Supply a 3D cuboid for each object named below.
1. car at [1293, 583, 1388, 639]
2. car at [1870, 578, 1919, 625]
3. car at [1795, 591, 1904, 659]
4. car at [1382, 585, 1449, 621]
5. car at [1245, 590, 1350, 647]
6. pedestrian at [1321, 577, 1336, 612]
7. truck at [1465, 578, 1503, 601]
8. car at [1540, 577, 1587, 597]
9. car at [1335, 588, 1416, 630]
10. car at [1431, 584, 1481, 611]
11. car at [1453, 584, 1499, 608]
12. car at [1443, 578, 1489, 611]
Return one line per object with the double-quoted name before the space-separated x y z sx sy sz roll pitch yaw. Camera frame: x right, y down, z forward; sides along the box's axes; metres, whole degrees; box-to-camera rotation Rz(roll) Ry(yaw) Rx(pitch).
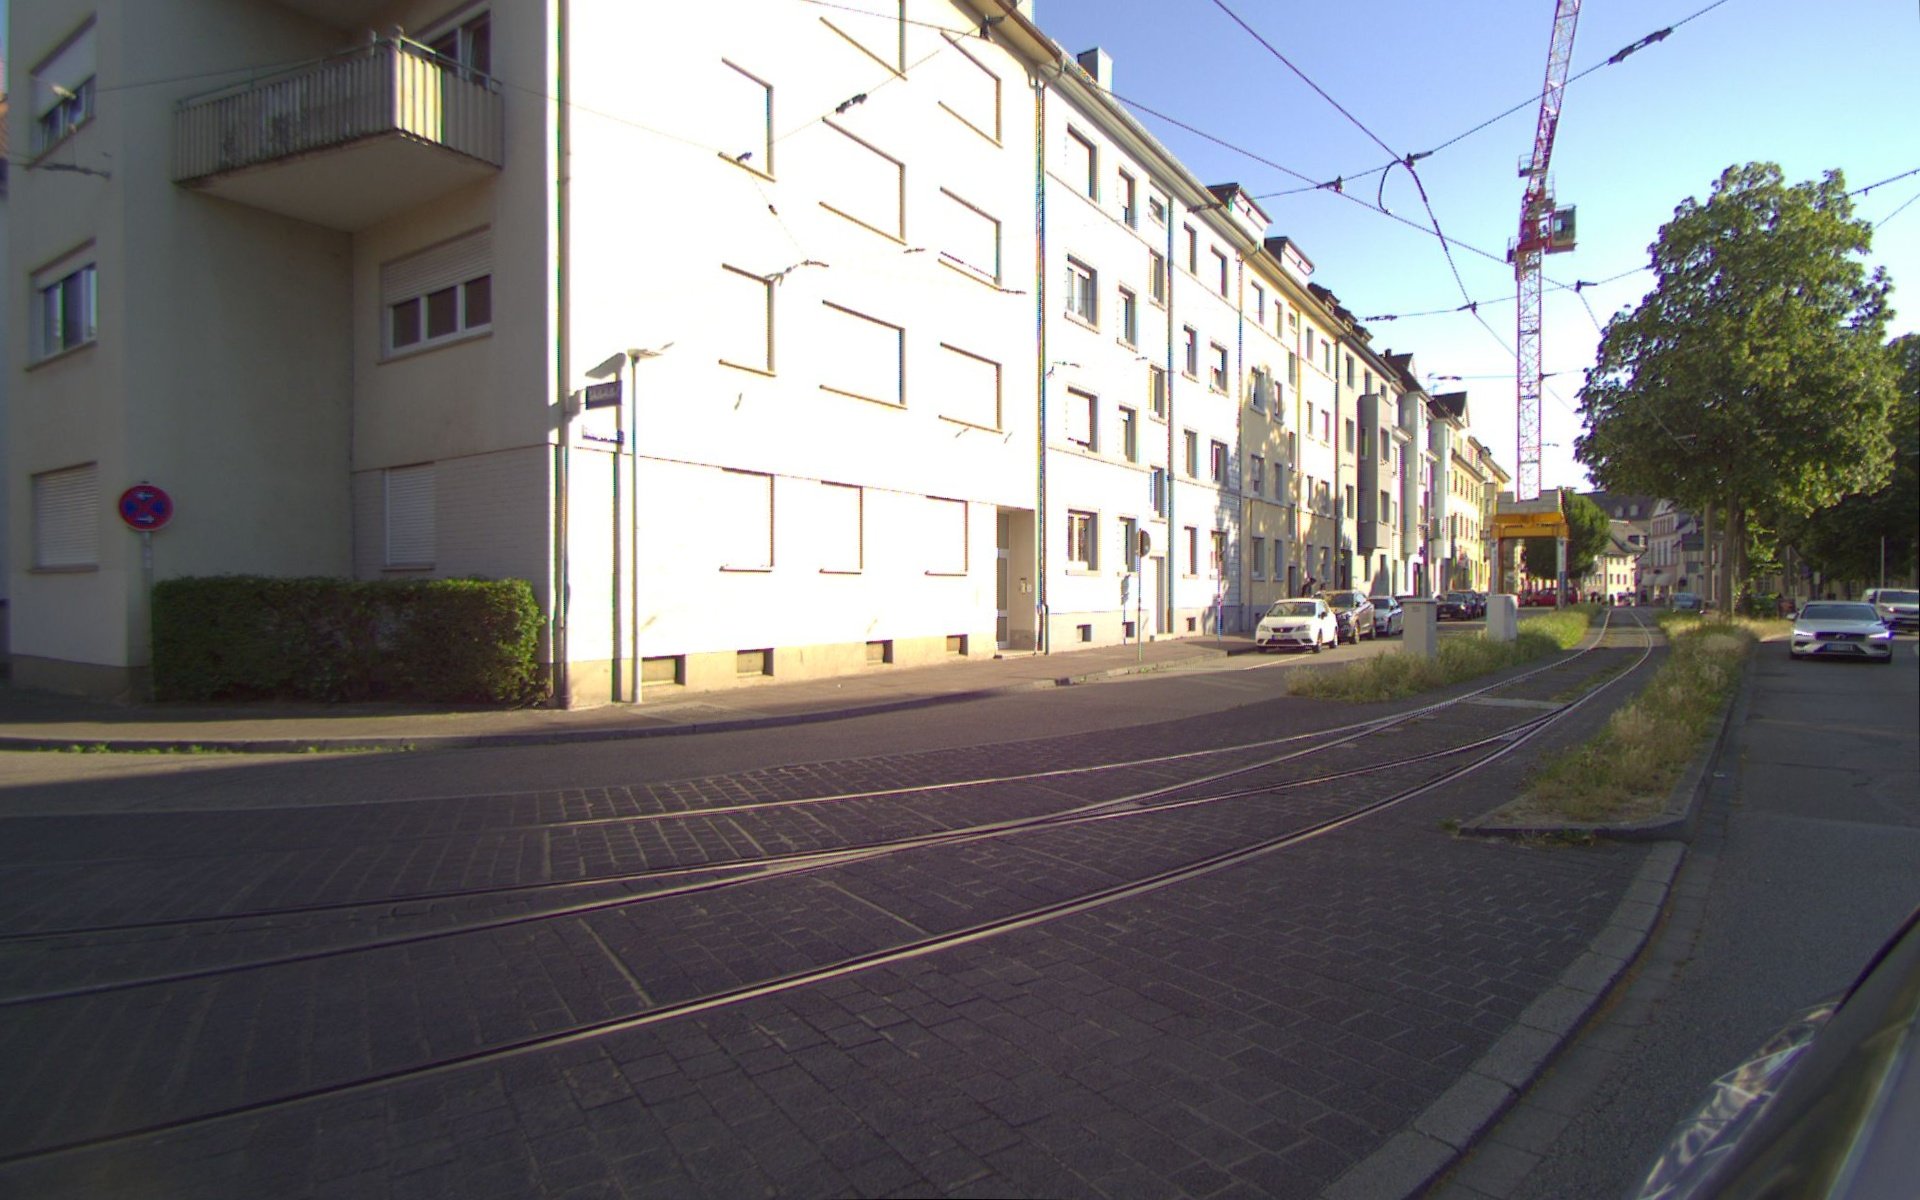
"car" 12.303 0.282 32.542 1.985 1.591 4.589 1 2 32
"car" 39.919 0.059 42.426 1.987 1.877 4.841 1 1 34
"car" 21.895 0.557 25.058 1.846 1.482 4.704 1 1 40
"car" 19.217 0.109 42.628 1.985 1.404 4.395 1 1 32
"car" 9.473 0.456 28.178 1.983 1.404 4.400 1 1 29
"pedestrian" 15.357 -0.246 42.192 0.521 1.458 0.455 0 0 34
"truck" 36.880 -0.736 71.150 1.985 1.605 4.049 1 1 33
"car" 61.520 -1.304 103.204 4.040 1.945 1.978 1 1 31
"car" 15.260 0.308 37.040 1.985 1.404 4.395 1 1 32
"car" 26.629 -0.143 54.270 1.985 1.404 4.395 1 1 32
"car" 32.046 -0.229 62.825 1.987 1.404 4.156 1 1 35
"car" 29.315 -0.322 58.604 1.985 1.771 4.161 1 1 32
